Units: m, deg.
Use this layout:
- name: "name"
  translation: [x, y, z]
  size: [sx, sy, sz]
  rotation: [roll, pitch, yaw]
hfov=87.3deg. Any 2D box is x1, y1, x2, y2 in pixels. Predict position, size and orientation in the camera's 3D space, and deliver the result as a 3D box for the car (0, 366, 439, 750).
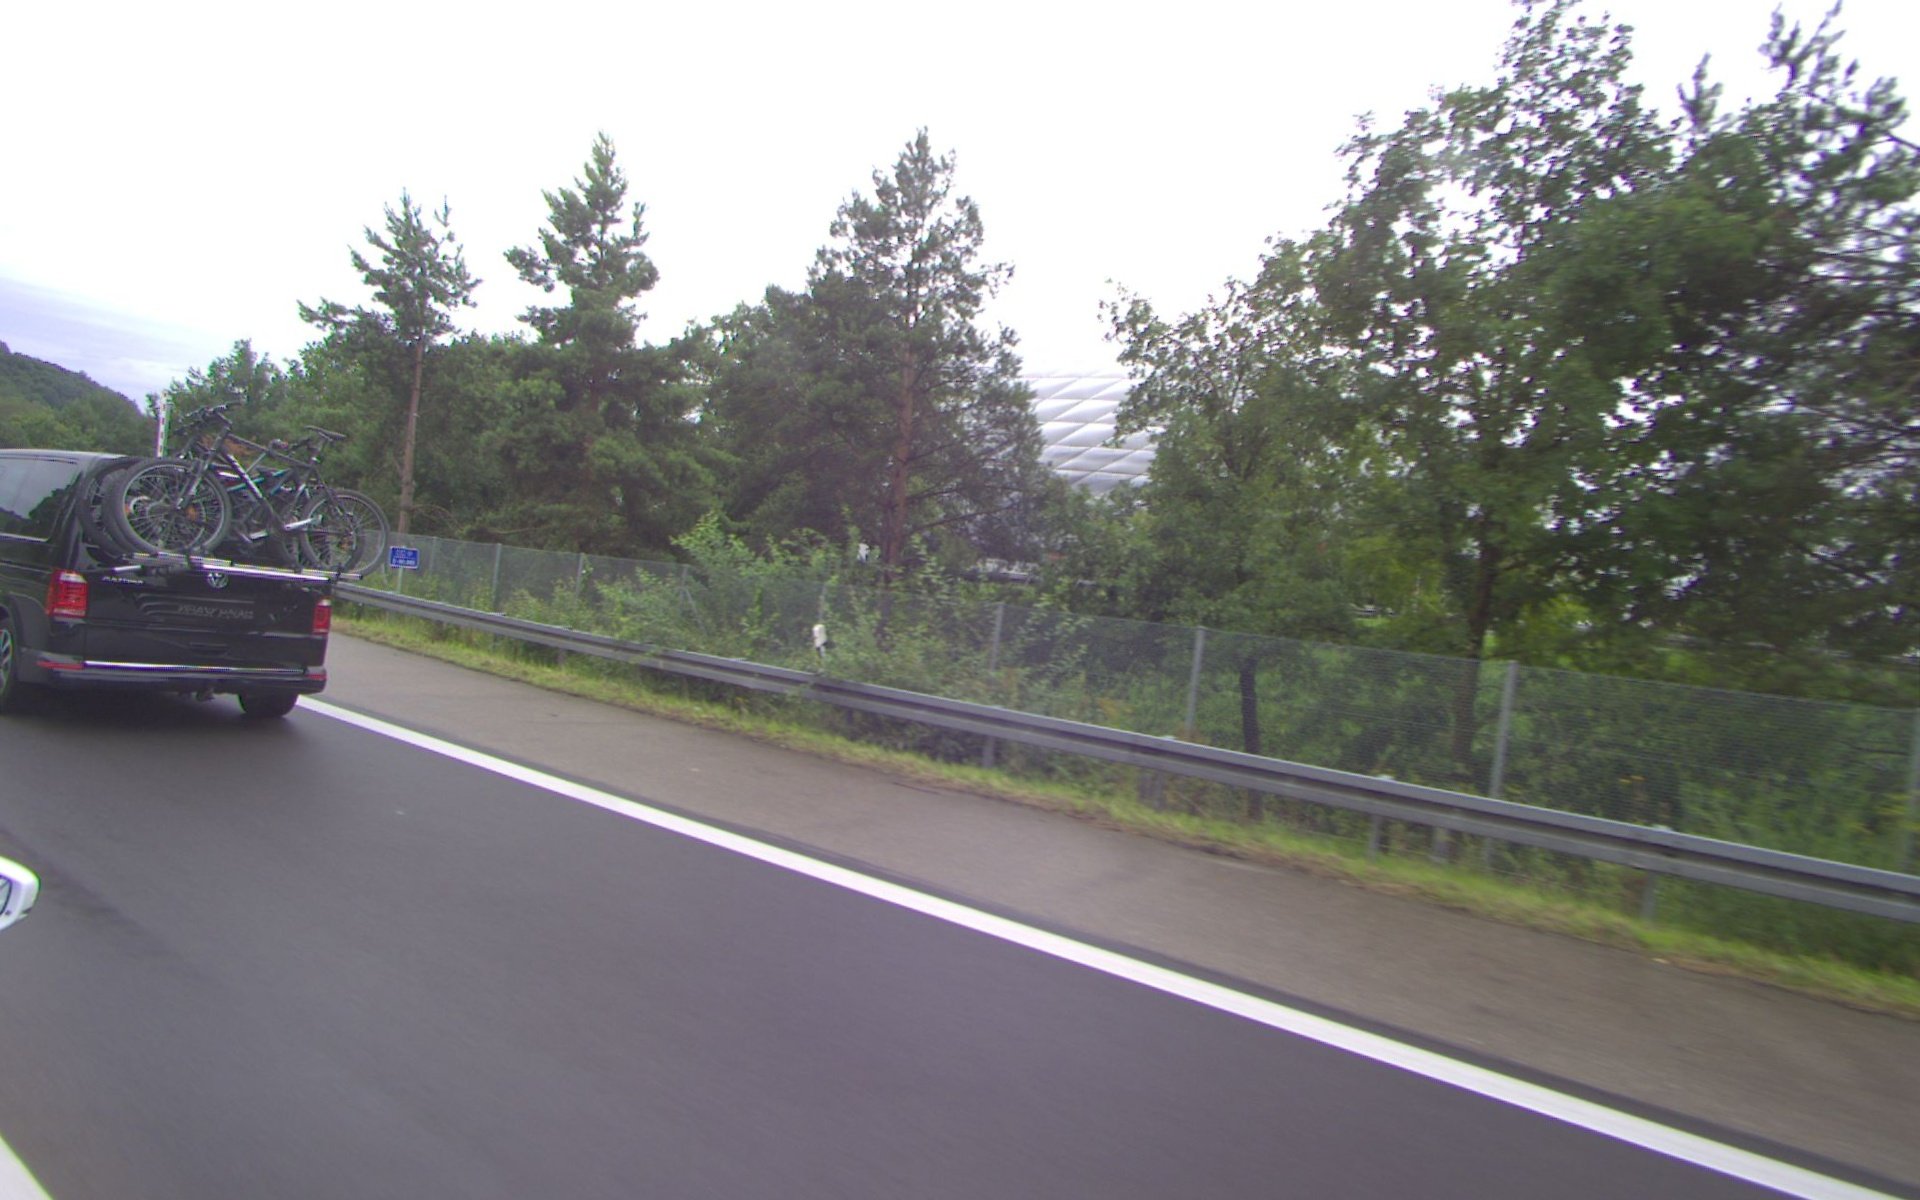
- name: "car"
  translation: [-7.110, -0.420, 8.457]
  size: [5.802, 2.290, 2.113]
  rotation: [7, -2, 34]
